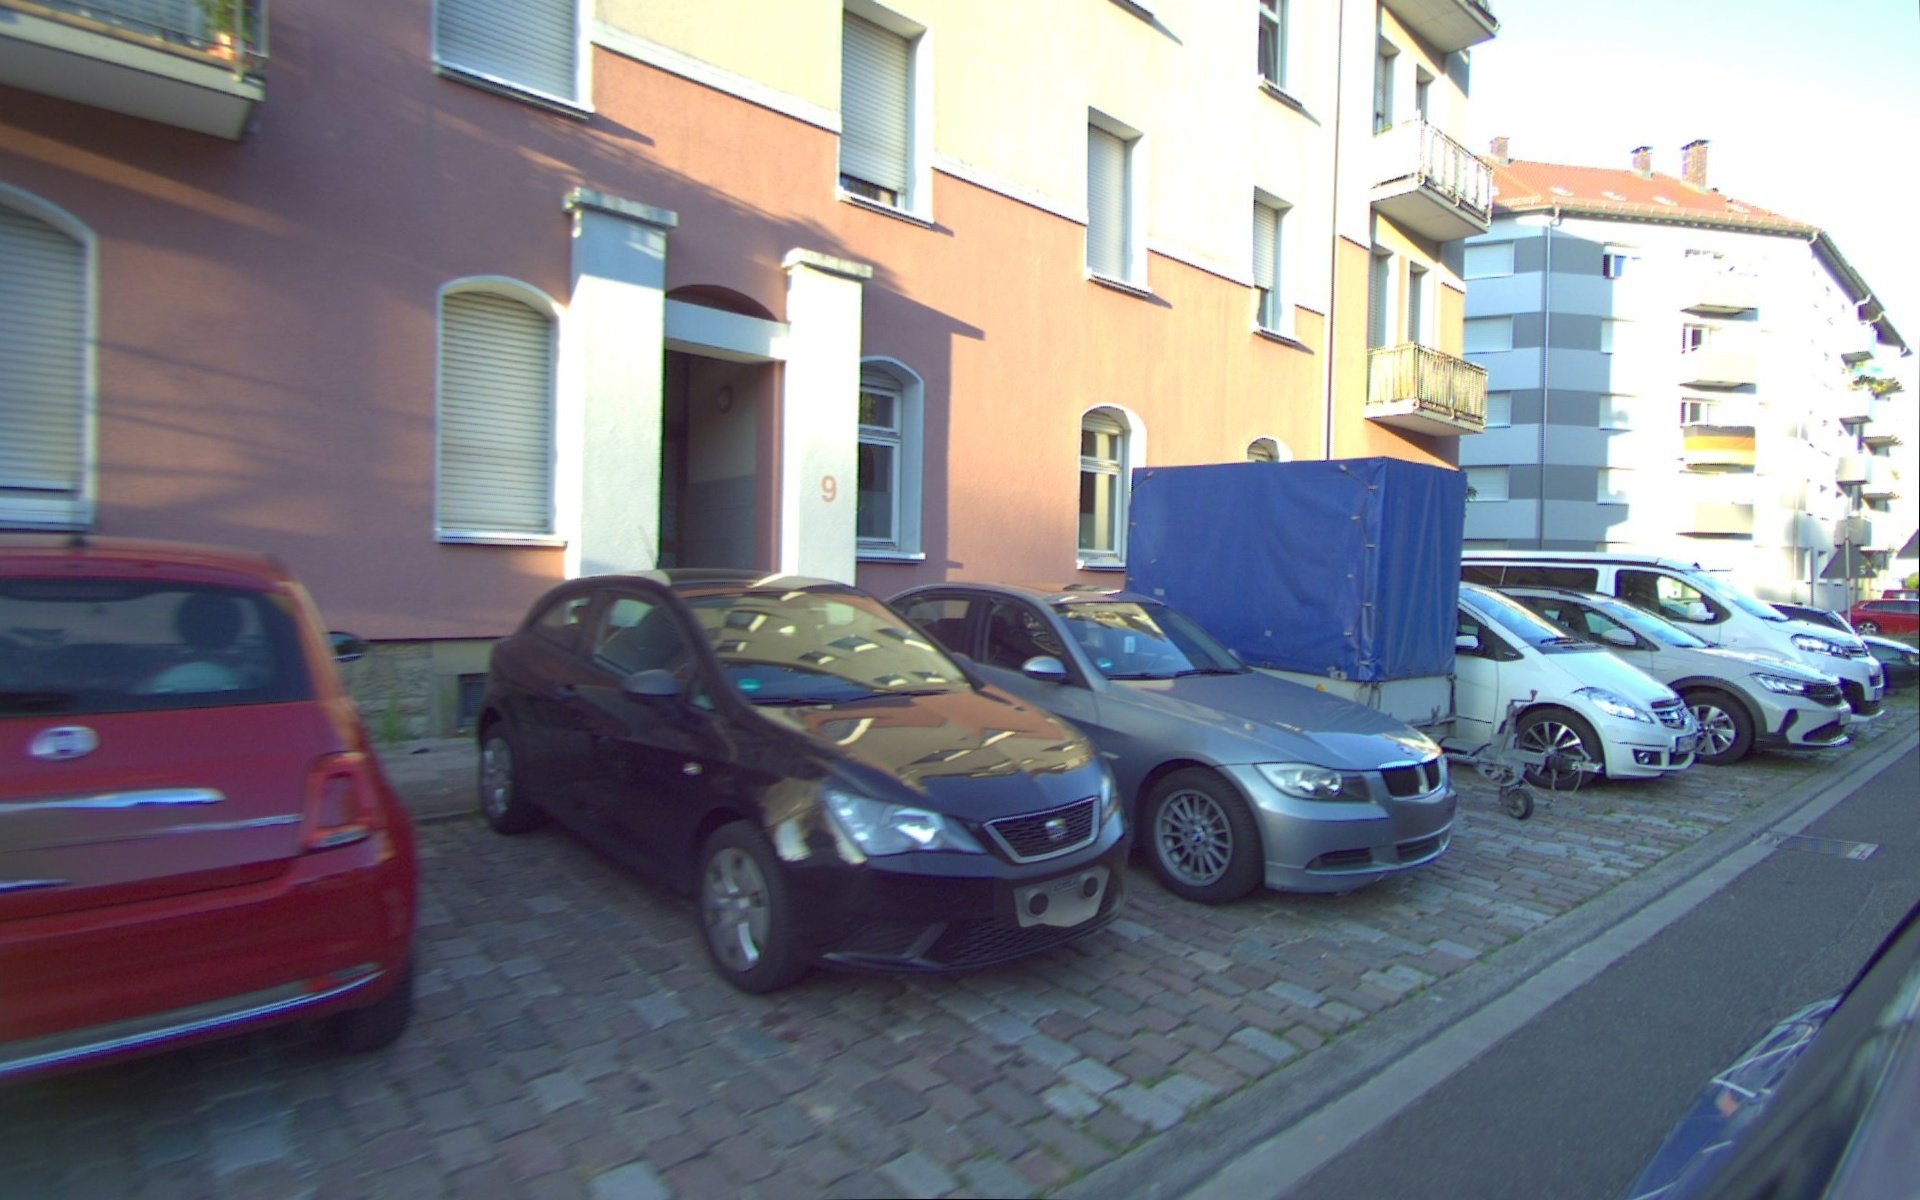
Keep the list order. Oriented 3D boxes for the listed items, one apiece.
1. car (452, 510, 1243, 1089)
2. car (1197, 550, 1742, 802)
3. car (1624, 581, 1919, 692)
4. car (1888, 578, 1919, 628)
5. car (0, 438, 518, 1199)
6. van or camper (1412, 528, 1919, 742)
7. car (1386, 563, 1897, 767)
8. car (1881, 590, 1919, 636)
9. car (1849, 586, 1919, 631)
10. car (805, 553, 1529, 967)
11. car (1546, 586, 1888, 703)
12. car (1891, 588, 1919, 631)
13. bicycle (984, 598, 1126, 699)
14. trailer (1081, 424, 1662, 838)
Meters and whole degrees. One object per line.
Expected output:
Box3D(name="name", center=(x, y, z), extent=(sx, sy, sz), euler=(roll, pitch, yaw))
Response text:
Box3D(name="car", center=(-0.874, 0.505, 4.845), extent=(1.759, 1.591, 3.969), euler=(0, 1, -43))
Box3D(name="car", center=(4.385, 0.465, 9.168), extent=(1.966, 1.749, 3.993), euler=(-1, 2, -41))
Box3D(name="car", center=(13.696, 0.514, 16.860), extent=(1.824, 1.605, 4.107), euler=(0, 1, -43))
Box3D(name="car", center=(40.633, 0.158, 40.662), extent=(1.964, 2.025, 4.684), euler=(0, 1, -39))
Box3D(name="car", center=(-3.099, 0.439, 3.606), extent=(1.715, 1.630, 3.697), euler=(0, 1, -42))
Box3D(name="van or camper", center=(8.461, 0.294, 12.518), extent=(2.005, 2.123, 4.843), euler=(0, 1, -41))
Box3D(name="car", center=(6.765, 0.472, 10.357), extent=(1.966, 1.660, 3.993), euler=(-1, 2, -42))
Box3D(name="car", center=(36.671, 0.492, 37.206), extent=(1.966, 1.683, 3.993), euler=(0, 1, -42))
Box3D(name="car", center=(34.500, 0.323, 35.802), extent=(1.889, 1.560, 4.311), euler=(0, 1, -39))
Box3D(name="car", center=(0.968, 0.597, 6.169), extent=(1.871, 1.658, 3.991), euler=(0, 1, -43))
Box3D(name="car", center=(11.711, 0.579, 15.841), extent=(1.966, 1.549, 3.993), euler=(0, 1, -42))
Box3D(name="car", center=(38.487, 0.384, 38.772), extent=(1.754, 1.649, 3.992), euler=(0, 1, -42))
Box3D(name="bicycle", center=(1.135, 0.519, 11.722), extent=(1.872, 1.074, 0.516), euler=(0, 1, -43))
Box3D(name="trailer", center=(2.951, 0.075, 7.738), extent=(1.908, 2.365, 3.572), euler=(0, 3, -43))
